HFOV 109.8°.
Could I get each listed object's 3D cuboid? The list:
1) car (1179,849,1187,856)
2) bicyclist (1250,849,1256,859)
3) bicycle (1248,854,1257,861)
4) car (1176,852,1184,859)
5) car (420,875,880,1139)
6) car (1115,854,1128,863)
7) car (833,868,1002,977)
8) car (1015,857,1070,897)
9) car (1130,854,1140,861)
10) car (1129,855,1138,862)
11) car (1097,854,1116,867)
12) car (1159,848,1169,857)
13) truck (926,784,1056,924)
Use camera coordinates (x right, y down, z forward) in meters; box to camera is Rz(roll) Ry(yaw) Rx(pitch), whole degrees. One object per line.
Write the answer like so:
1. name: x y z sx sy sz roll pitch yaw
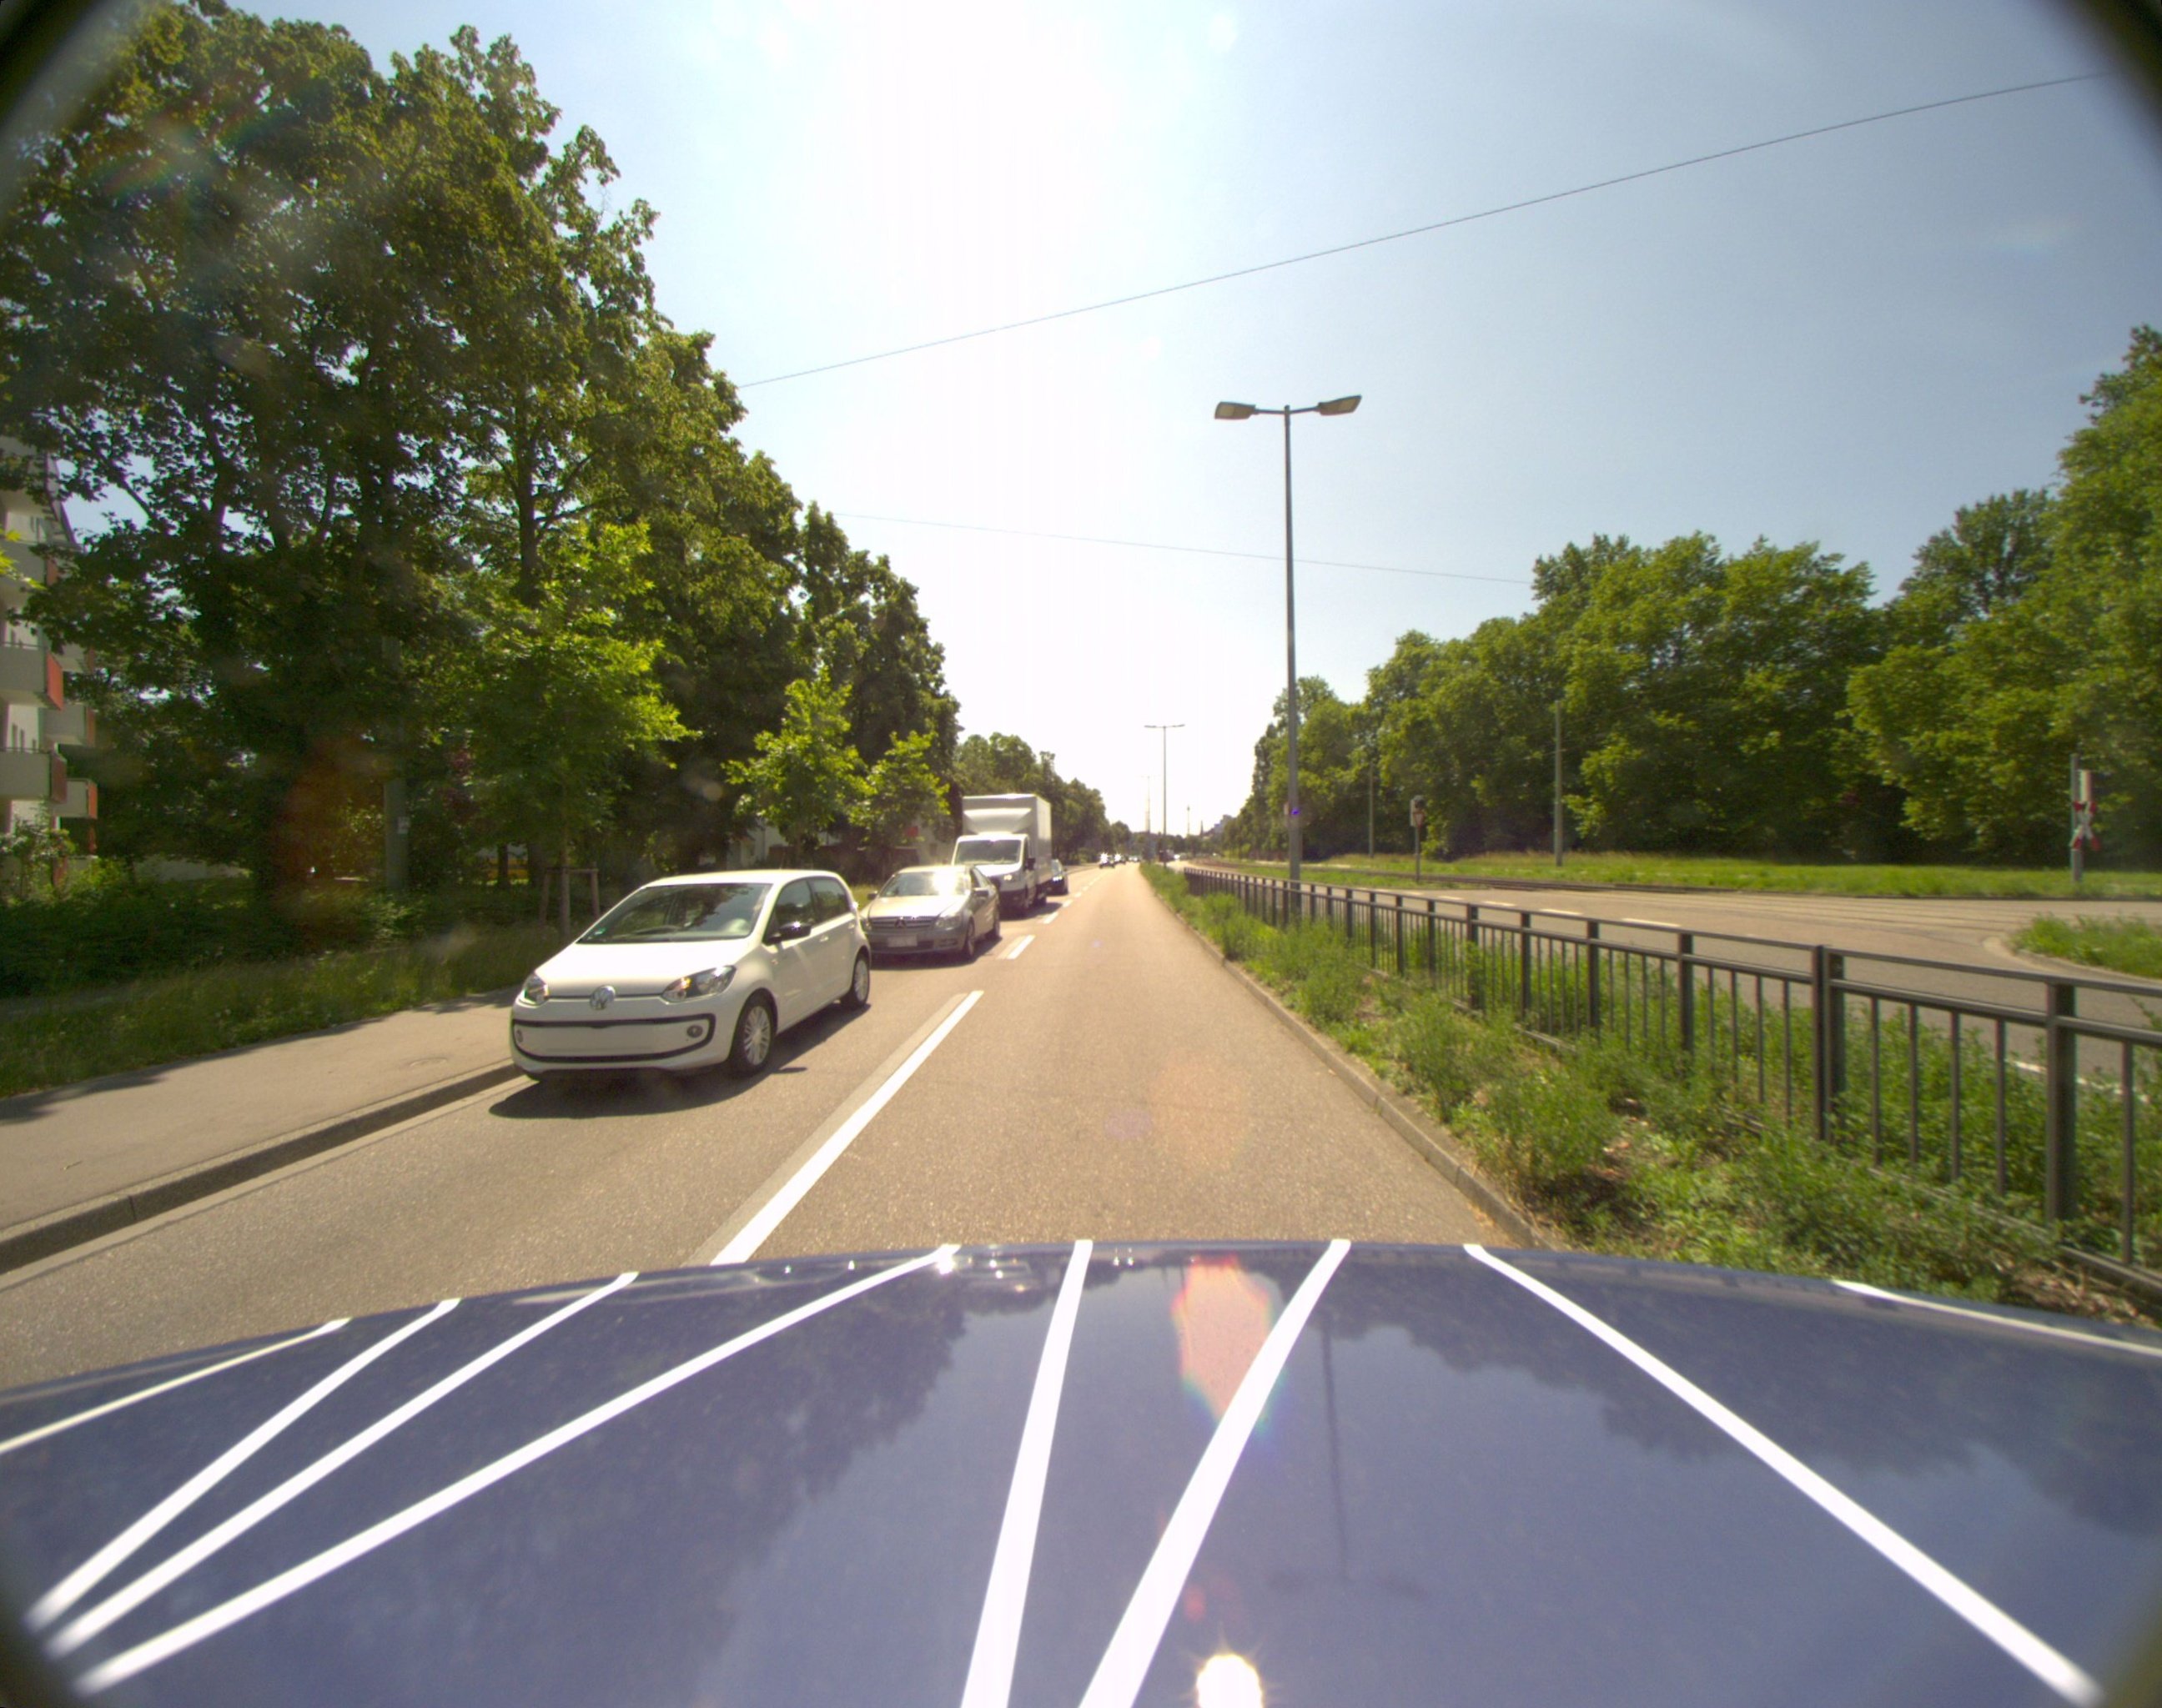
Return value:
1. car: 26.878 -0.398 200.769 1.998 1.847 4.001 -1 0 5
2. bicyclist: 29.754 0.019 131.603 0.862 1.796 1.118 -1 1 1
3. bicycle: 29.741 0.573 131.677 0.862 1.155 2.787 -1 0 1
4. car: 26.894 0.296 207.340 1.998 1.847 4.001 -1 0 5
5. car: -3.124 0.987 6.520 1.730 1.470 3.771 -1 0 1
6. car: 7.026 0.807 130.967 1.997 1.499 4.002 -1 0 7
7. car: -2.472 0.984 12.541 1.840 1.400 4.087 -1 0 1
8. car: -1.511 0.912 31.512 1.998 1.499 4.000 -1 0 1
9. car: 11.695 0.740 164.188 1.997 1.499 4.002 -1 0 7
10. car: 12.395 1.070 180.593 1.951 1.499 4.002 -1 0 7
11. car: 3.229 0.814 95.146 1.997 1.499 4.002 -1 0 7
12. car: 16.758 -0.304 153.804 1.997 1.847 4.002 -1 0 7
13. truck: -2.297 -0.010 22.279 2.433 3.326 7.923 -1 0 3
